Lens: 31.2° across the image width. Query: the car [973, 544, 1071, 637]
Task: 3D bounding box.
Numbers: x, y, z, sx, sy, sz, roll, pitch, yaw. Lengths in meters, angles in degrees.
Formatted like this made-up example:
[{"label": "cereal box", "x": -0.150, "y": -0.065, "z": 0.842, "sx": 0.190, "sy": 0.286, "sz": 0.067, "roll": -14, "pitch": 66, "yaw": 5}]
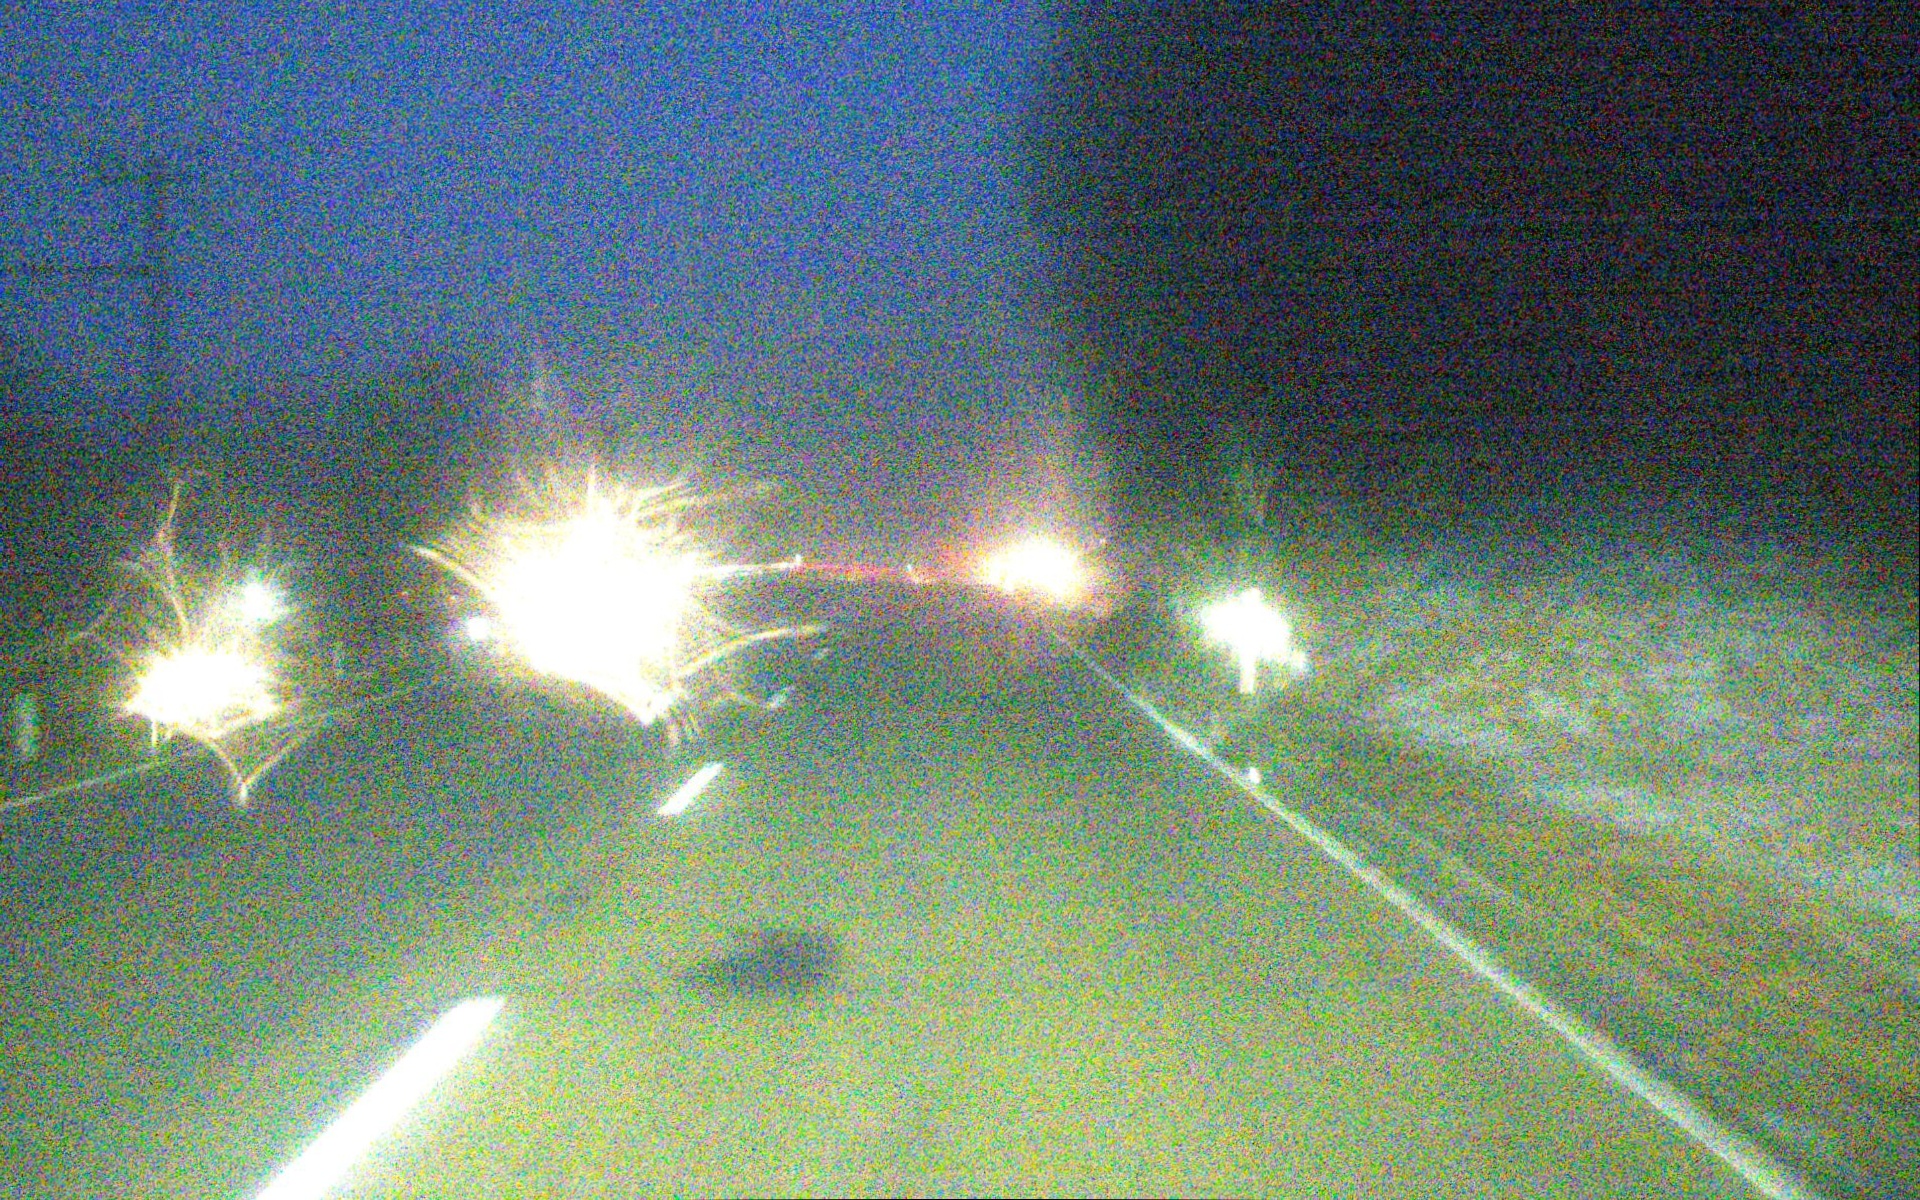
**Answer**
[{"label": "car", "x": 1.430, "y": -0.198, "z": 80.432, "sx": 2.197, "sy": 2.007, "sz": 4.207, "roll": 1, "pitch": -2, "yaw": 1}]
